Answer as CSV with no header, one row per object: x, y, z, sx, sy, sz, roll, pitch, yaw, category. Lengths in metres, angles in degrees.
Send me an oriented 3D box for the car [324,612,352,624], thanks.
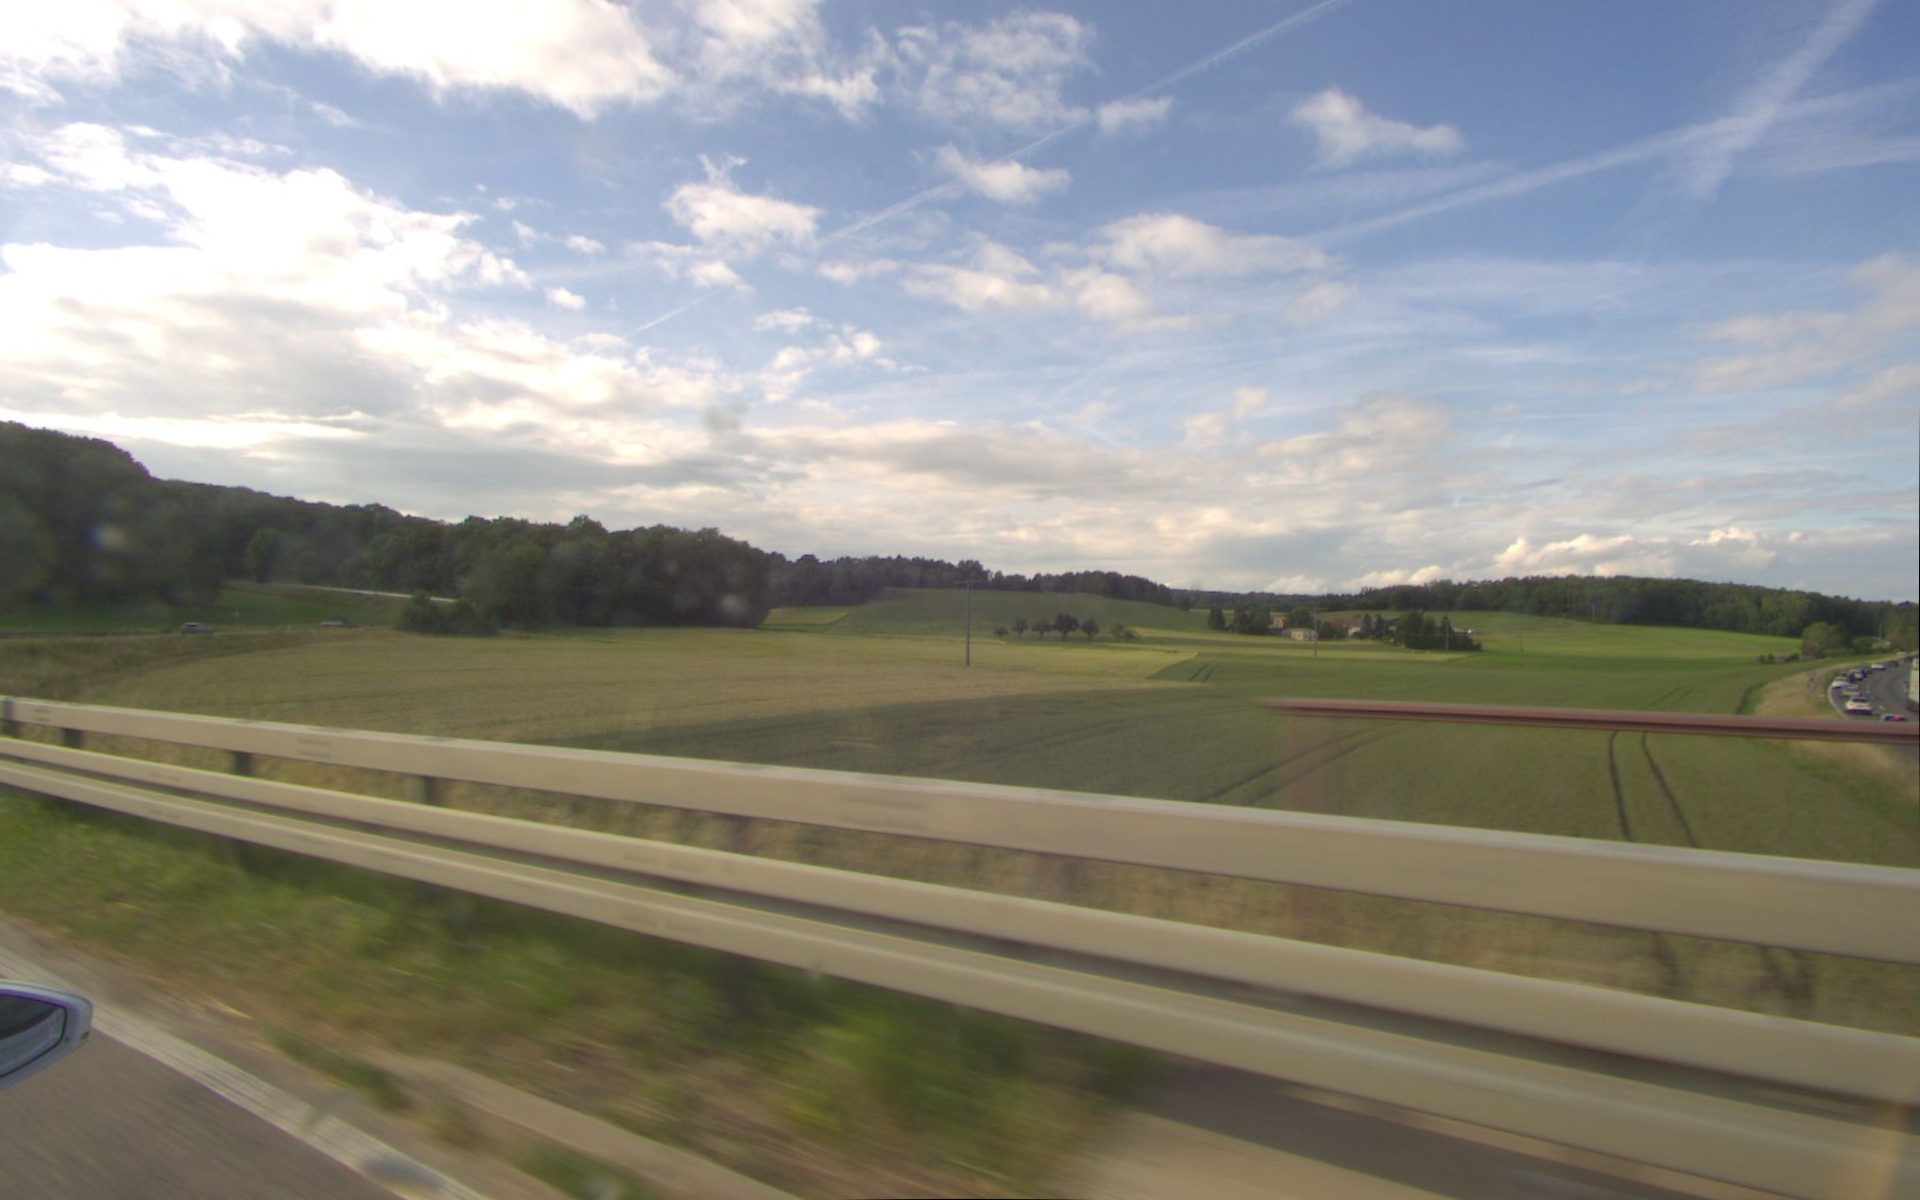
-101.068,2.918,162.744,1.961,1.794,4.002,1,-2,-2,car

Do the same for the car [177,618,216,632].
-98.699,3.231,129.438,1.961,1.700,4.179,2,-2,-4,car

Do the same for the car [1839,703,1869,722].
81.245,10.197,91.009,1.586,1.412,3.310,0,-2,34,car

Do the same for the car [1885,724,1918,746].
68.269,9.795,72.648,1.361,1.284,3.080,0,-2,37,car

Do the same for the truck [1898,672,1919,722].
91.416,8.980,93.388,4.031,4.045,14.328,-5,-4,37,truck
